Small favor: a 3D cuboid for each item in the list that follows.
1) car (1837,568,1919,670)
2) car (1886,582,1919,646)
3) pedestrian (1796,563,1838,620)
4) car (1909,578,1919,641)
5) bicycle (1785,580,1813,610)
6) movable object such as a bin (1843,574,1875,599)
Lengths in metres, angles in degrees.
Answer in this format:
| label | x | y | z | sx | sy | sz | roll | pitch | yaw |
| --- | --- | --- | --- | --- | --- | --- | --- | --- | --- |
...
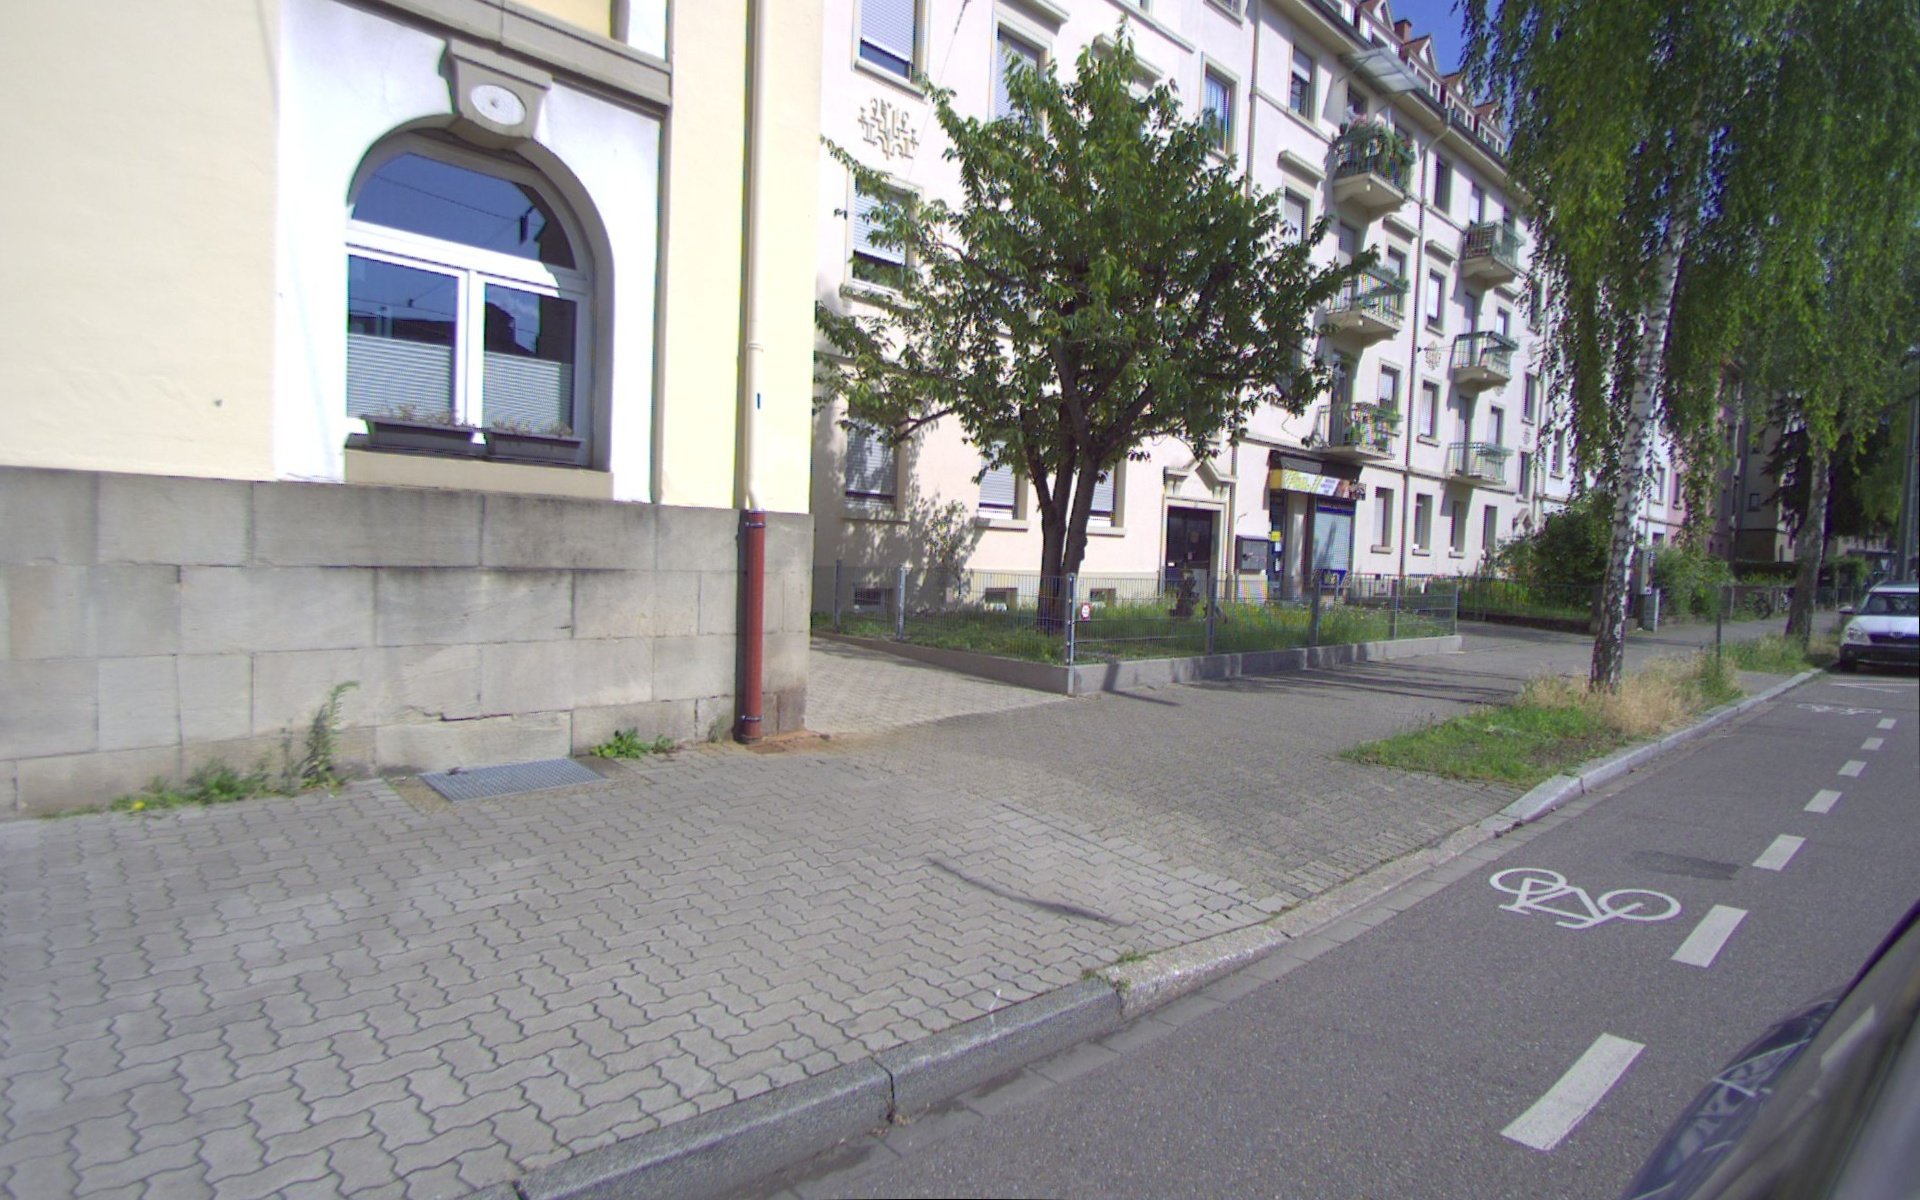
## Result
| label | x | y | z | sx | sy | sz | roll | pitch | yaw |
| --- | --- | --- | --- | --- | --- | --- | --- | --- | --- |
| car | 17.018 | 0.288 | 17.889 | 3.930 | 1.650 | 1.724 | -1 | 2 | -41 |
| car | 23.270 | 0.306 | 24.031 | 3.733 | 1.434 | 1.674 | -1 | 1 | -44 |
| pedestrian | 26.574 | -0.265 | 31.383 | 0.678 | 1.702 | 0.732 | 0 | 5 | -40 |
| car | 26.315 | 0.243 | 26.876 | 3.698 | 1.599 | 1.494 | -1 | 2 | -45 |
| bicycle | 32.632 | -0.192 | 39.370 | 2.145 | 1.090 | 0.472 | 0 | 4 | -42 |
| movable object such as a bin | 59.396 | -0.891 | 66.860 | 1.966 | 1.510 | 1.304 | 0 | 4 | -43 |
